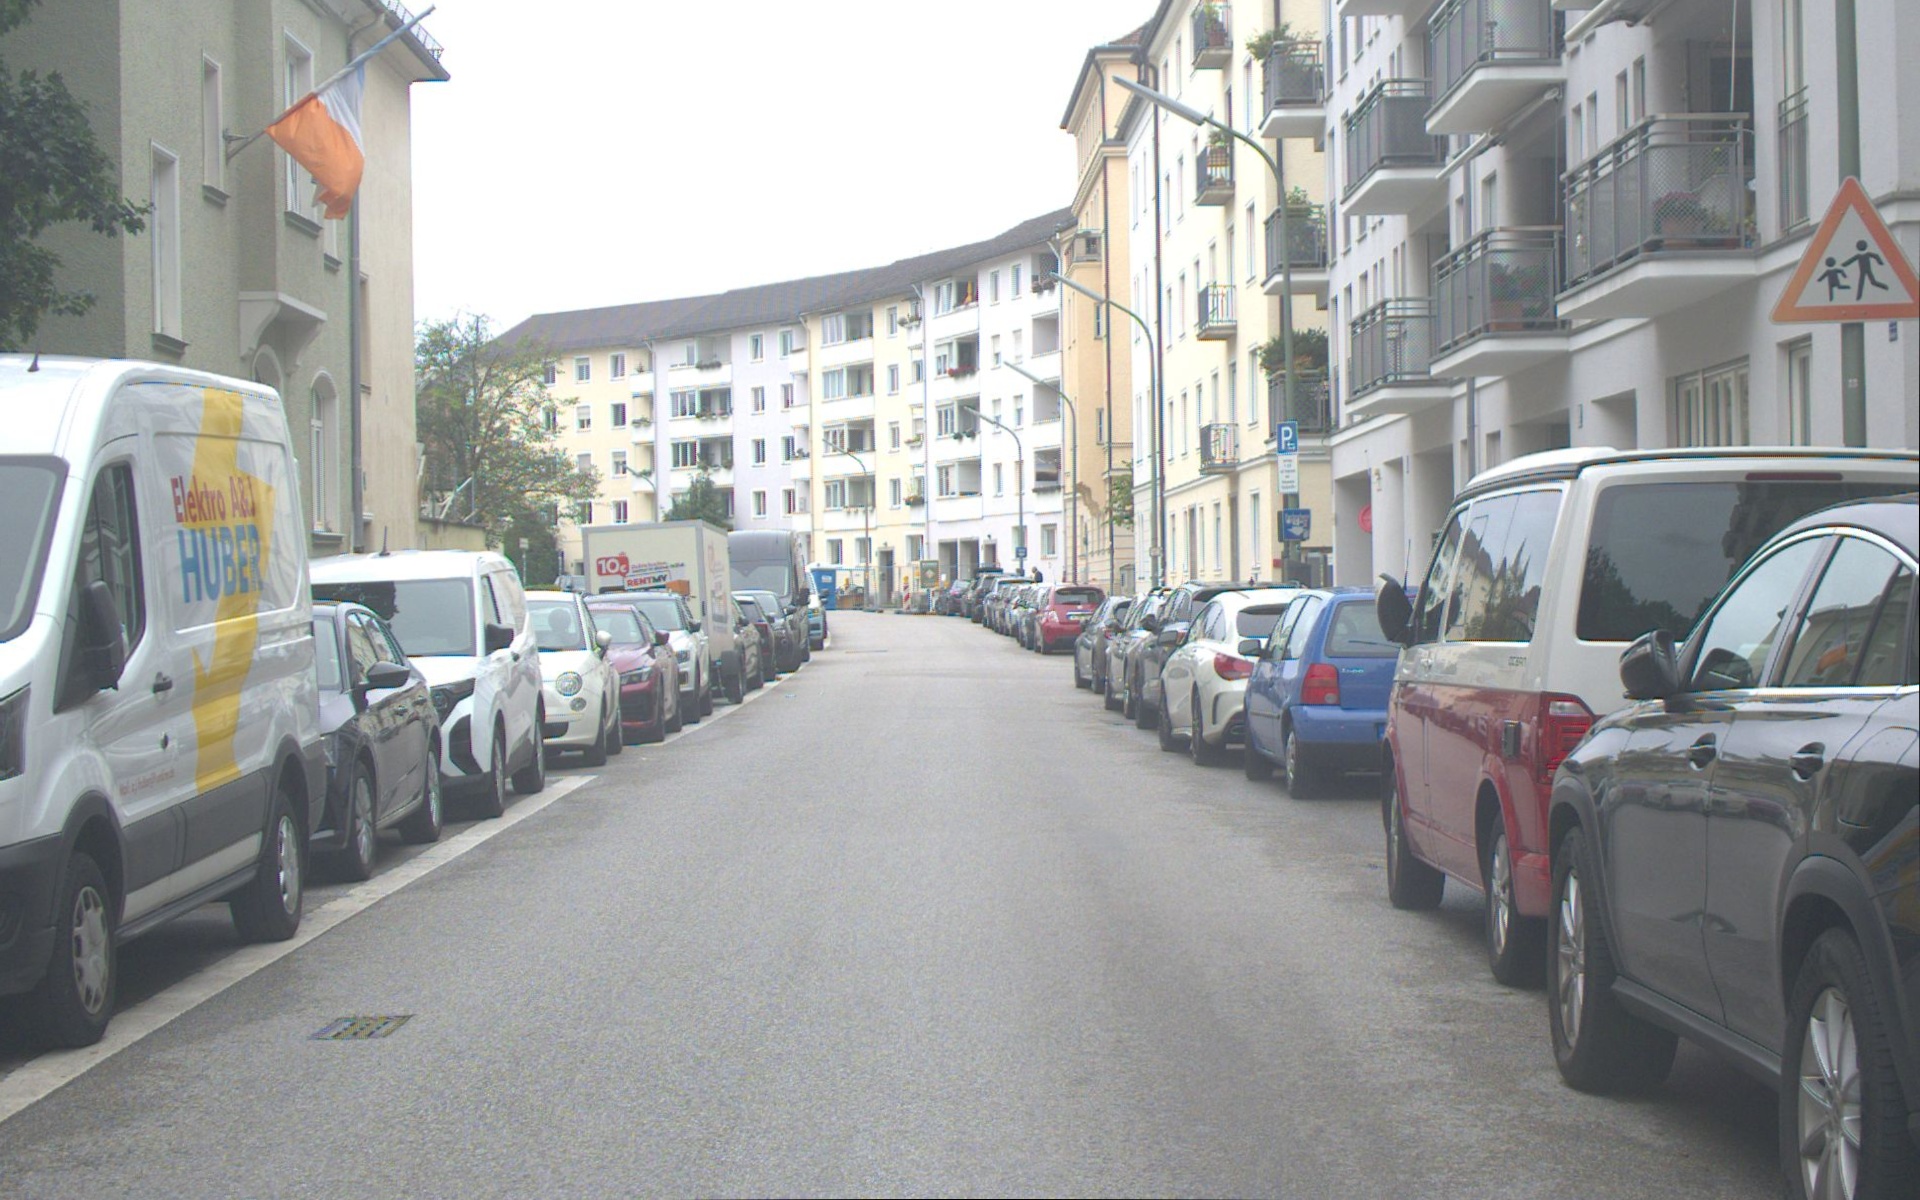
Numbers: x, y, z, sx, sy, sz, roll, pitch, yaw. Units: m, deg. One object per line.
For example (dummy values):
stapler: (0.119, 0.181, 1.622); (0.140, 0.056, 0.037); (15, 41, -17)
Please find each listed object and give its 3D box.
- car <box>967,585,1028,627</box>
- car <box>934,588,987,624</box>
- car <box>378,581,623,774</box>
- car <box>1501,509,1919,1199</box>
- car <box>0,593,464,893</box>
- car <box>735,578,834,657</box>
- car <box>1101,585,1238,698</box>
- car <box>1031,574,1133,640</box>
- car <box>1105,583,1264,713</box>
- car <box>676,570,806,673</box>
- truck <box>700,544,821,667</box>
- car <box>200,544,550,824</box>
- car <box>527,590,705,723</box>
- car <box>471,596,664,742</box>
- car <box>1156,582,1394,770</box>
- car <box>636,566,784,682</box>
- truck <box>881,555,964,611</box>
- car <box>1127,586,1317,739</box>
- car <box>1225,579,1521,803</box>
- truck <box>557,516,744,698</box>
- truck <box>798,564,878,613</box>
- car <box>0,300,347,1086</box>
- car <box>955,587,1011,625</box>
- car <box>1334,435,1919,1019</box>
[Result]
car: (1.275, 0.193, 118.280); (1.782, 1.380, 4.001); (0, 0, -4)
car: (0.008, 0.233, 135.662); (1.782, 1.380, 4.001); (0, 0, -4)
car: (-3.945, 0.632, 30.058); (1.846, 1.535, 4.000); (-1, 0, -4)
car: (2.661, 0.590, 8.260); (1.859, 1.546, 4.753); (-1, 0, -1)
car: (-3.869, 0.704, 18.873); (1.744, 1.440, 4.000); (-1, 0, -1)
car: (-4.044, 0.395, 79.863); (1.993, 1.756, 4.381); (-1, 0, 1)
car: (2.817, 0.541, 46.869); (1.649, 1.429, 4.284); (-1, 0, 1)
car: (2.607, 0.129, 74.440); (1.782, 1.380, 4.001); (0, 0, -4)
car: (2.605, 0.542, 40.638); (1.649, 1.429, 4.000); (-1, 0, 1)
car: (-3.890, 0.376, 61.748); (1.993, 1.756, 4.381); (-1, 0, 1)
truck: (-3.914, 0.105, 68.336); (1.993, 2.311, 5.409); (-1, 0, 1)
car: (-3.875, 0.525, 23.381); (1.820, 1.705, 4.000); (-1, 0, -2)
car: (-4.006, 0.638, 40.545); (1.795, 1.464, 3.867); (-1, 0, -2)
car: (-3.915, 0.661, 34.814); (1.751, 1.364, 4.000); (-1, 0, -4)
car: (2.560, 0.591, 28.682); (1.649, 1.429, 4.000); (-1, 0, 1)
car: (-3.965, 0.372, 55.158); (1.993, 1.756, 4.381); (-1, 0, 1)
truck: (-1.595, -0.704, 143.317); (2.225, 2.292, 5.292); (0, 0, -14)
car: (2.597, 0.595, 34.751); (1.649, 1.429, 4.000); (-1, 0, 1)
car: (2.832, 0.596, 24.213); (1.608, 1.429, 3.619); (-1, 0, 0)
truck: (-4.178, 0.093, 47.270); (1.993, 2.311, 5.409); (-1, 0, 1)
truck: (-5.855, -0.563, 164.330); (2.621, 2.292, 5.442); (0, 0, -15)
car: (-3.879, 0.299, 12.937); (2.137, 2.341, 5.370); (-1, 0, 0)
car: (0.837, 0.211, 129.337); (1.782, 1.380, 4.001); (0, 0, -4)
car: (2.796, 0.430, 14.121); (1.869, 1.961, 4.817); (-1, 0, -1)
